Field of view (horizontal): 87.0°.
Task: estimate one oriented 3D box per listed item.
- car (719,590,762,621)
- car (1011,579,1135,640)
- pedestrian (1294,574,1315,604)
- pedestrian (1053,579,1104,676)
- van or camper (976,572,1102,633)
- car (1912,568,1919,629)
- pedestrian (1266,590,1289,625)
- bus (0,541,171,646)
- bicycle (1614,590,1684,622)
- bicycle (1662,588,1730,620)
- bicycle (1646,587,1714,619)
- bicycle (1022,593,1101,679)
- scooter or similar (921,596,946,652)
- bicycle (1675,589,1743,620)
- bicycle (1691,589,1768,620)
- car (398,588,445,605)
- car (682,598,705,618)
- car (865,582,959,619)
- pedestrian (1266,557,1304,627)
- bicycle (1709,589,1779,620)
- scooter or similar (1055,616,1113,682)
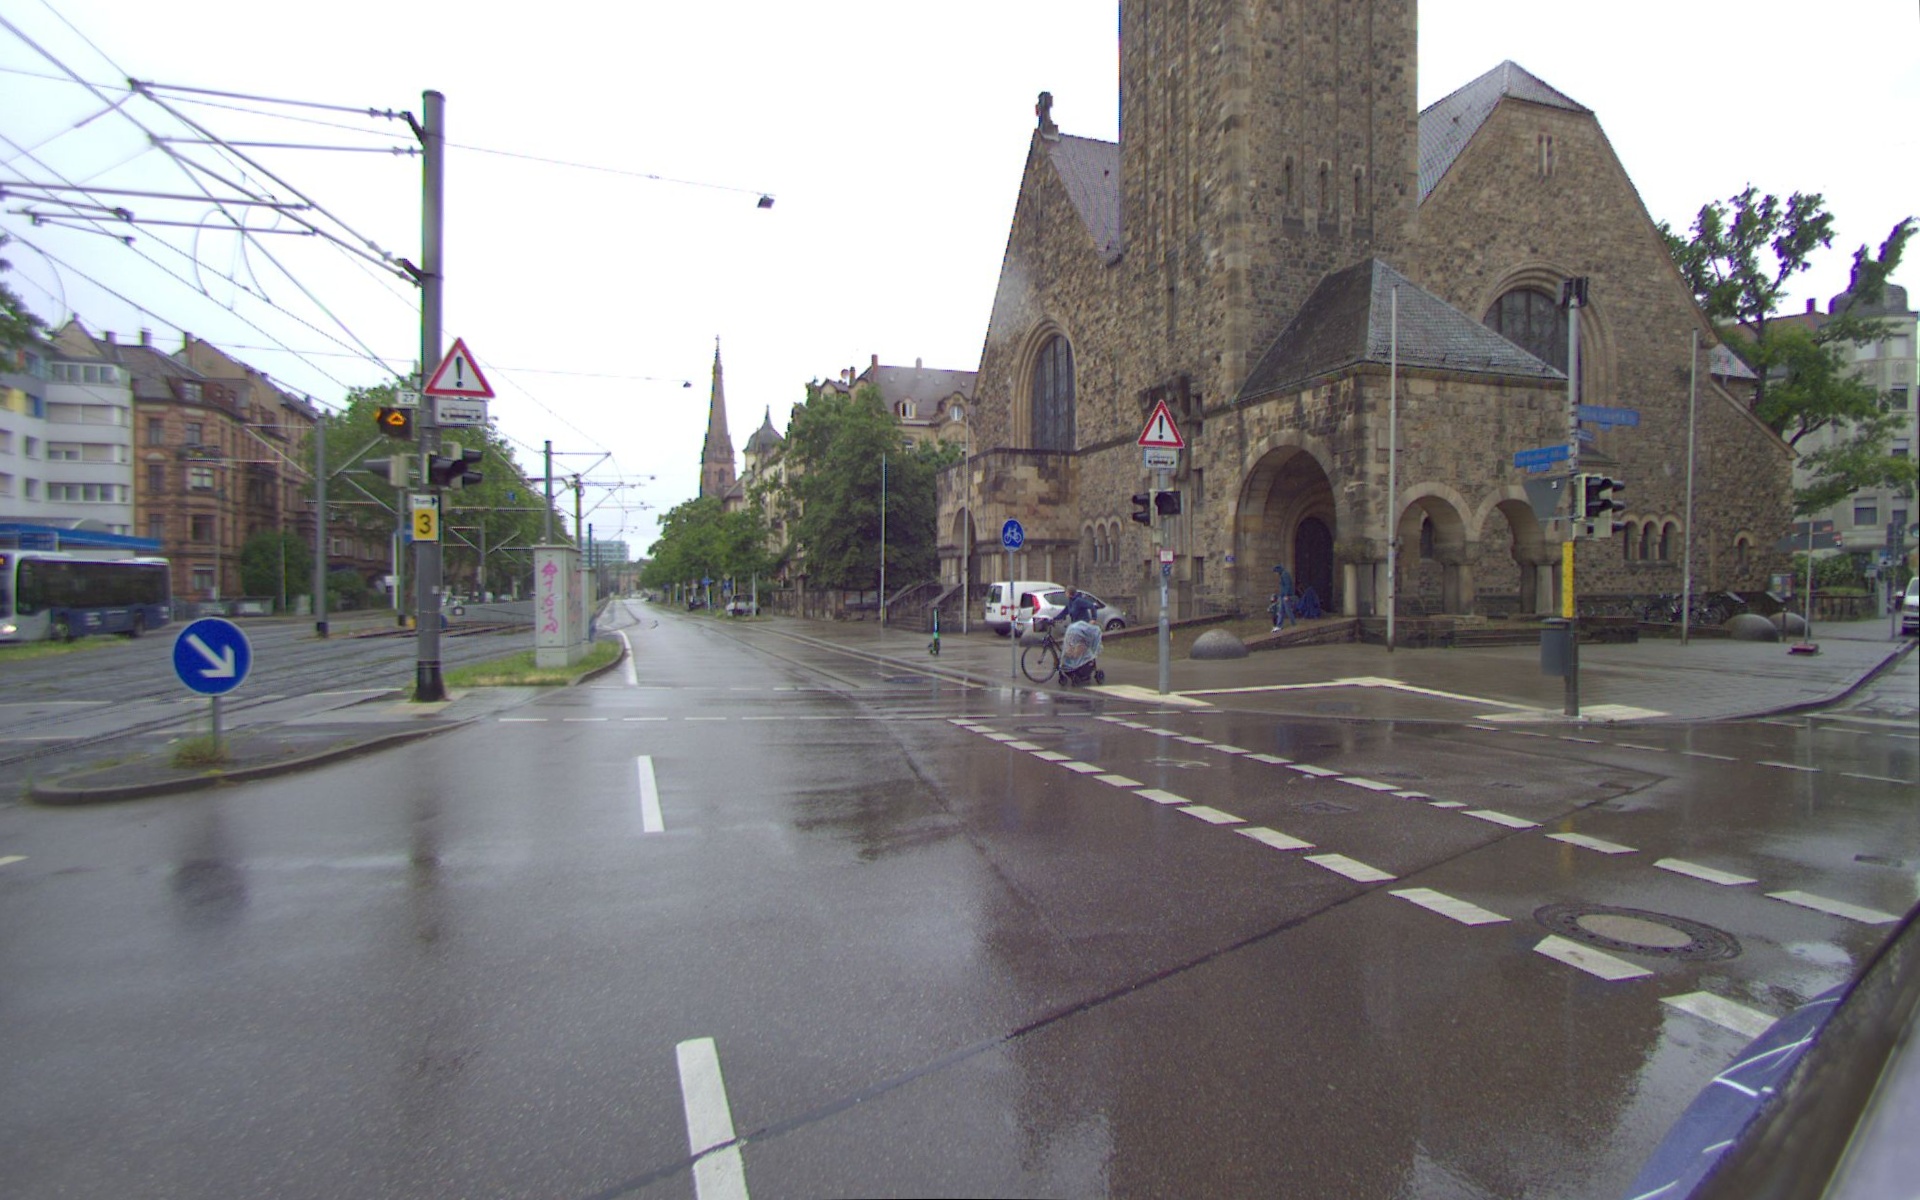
[{"bbox_3d":[-13.574,0.304,62.408,1.939,1.816,4.008,-1,1,-22],"label":"car"},{"bbox_3d":[3.458,0.258,31.150,3.289,1.593,1.740,-4,1,-17],"label":"car"},{"bbox_3d":[10.535,-0.334,30.945,0.447,0.895,0.397,0,0,-20],"label":"pedestrian"},{"bbox_3d":[2.115,0.480,18.063,0.677,1.684,0.604,0,0,-40],"label":"pedestrian"},{"bbox_3d":[2.696,0.048,34.454,3.849,1.749,1.652,-4,2,-20],"label":"van or camper"},{"bbox_3d":[32.956,-0.072,33.448,5.185,1.946,1.906,-1,1,-44],"label":"car"},{"bbox_3d":[8.318,0.187,26.525,0.388,0.895,0.457,0,0,-23],"label":"pedestrian"},{"bbox_3d":[-31.769,-0.248,35.553,2.833,3.152,12.127,0,1,-20],"label":"bus"},{"bbox_3d":[24.275,0.198,35.700,0.565,1.062,2.013,0,1,-26],"label":"bicycle"},{"bbox_3d":[26.197,0.133,36.058,0.569,1.074,1.932,0,1,-21],"label":"bicycle"},{"bbox_3d":[25.539,0.101,35.937,0.569,1.074,1.932,0,1,-24],"label":"bicycle"},{"bbox_3d":[1.863,0.614,18.363,0.530,1.485,1.914,0,0,37],"label":"bicycle"},{"bbox_3d":[-0.691,0.611,26.188,0.280,1.404,1.106,0,0,-20],"label":"scooter or similar"},{"bbox_3d":[26.821,0.146,36.276,0.569,1.074,1.932,0,1,-21],"label":"bicycle"},{"bbox_3d":[27.610,0.142,36.367,0.664,1.074,2.160,0,1,-21],"label":"bicycle"},{"bbox_3d":[-53.063,-0.395,99.777,3.758,1.644,1.771,-1,1,-44],"label":"car"},{"bbox_3d":[-25.305,0.731,96.124,1.744,1.799,4.008,-1,1,-19],"label":"car"},{"bbox_3d":[-2.251,-0.003,46.770,3.916,1.638,2.004,-1,1,-19],"label":"car"},{"bbox_3d":[8.199,-0.206,25.549,0.664,1.724,0.635,0,0,-23],"label":"pedestrian"},{"bbox_3d":[28.471,0.152,36.777,0.593,1.080,1.987,0,1,-21],"label":"bicycle"},{"bbox_3d":[2.139,0.827,17.404,0.908,1.062,0.514,0,0,-41],"label":"scooter or similar"}]
